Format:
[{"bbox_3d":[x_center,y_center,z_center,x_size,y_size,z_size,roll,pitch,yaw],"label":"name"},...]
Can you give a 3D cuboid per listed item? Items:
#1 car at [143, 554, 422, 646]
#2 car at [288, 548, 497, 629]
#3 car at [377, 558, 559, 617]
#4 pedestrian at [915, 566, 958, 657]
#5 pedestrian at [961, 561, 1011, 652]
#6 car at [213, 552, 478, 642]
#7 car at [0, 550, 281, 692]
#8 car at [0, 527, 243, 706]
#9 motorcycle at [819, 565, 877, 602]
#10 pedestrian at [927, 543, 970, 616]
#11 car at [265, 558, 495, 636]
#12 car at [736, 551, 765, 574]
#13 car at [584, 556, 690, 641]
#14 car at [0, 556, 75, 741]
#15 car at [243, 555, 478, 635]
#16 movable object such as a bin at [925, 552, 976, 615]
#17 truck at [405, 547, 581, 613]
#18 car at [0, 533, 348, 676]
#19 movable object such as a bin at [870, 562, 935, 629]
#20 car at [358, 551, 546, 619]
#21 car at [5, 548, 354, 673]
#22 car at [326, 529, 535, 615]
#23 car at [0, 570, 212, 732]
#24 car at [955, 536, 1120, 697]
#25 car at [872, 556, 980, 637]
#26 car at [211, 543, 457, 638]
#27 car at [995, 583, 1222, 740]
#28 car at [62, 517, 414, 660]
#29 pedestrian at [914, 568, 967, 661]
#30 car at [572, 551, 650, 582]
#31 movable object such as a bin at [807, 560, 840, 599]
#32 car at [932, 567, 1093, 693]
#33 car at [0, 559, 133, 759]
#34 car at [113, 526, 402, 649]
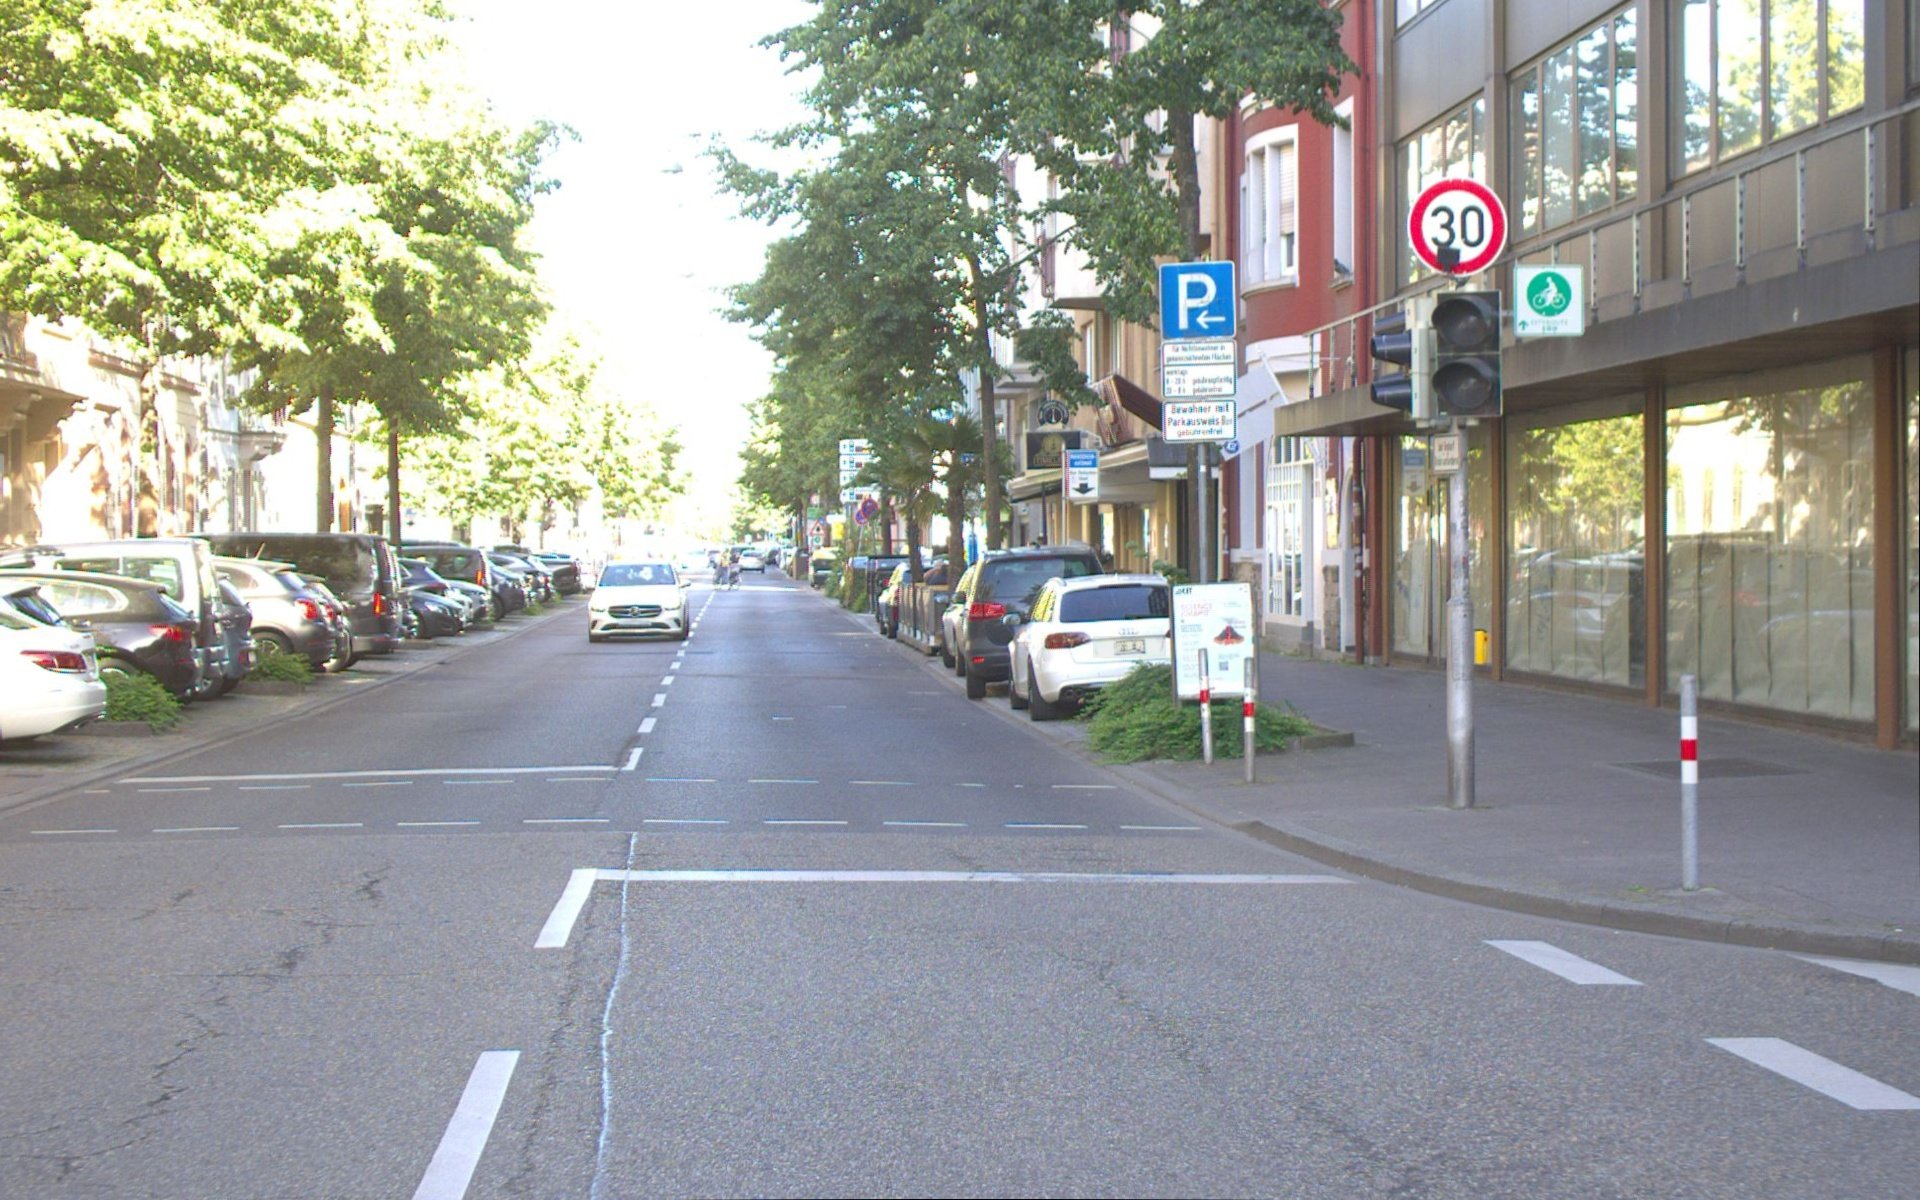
[{"bbox_3d":[-11.129,-0.012,56.707,4.338,1.434,1.917,1,0,-5],"label":"car"},{"bbox_3d":[-12.919,-0.271,78.440,4.466,1.766,1.917,1,0,-2],"label":"car"},{"bbox_3d":[-13.254,-0.352,92.844,4.680,1.514,1.808,1,0,-2],"label":"car"},{"bbox_3d":[-0.402,0.189,58.771,0.650,1.531,0.980,0,0,-5],"label":"pedestrian"},{"bbox_3d":[0.446,0.106,58.792,0.712,1.531,0.769,0,0,11],"label":"pedestrian"},{"bbox_3d":[-11.054,-0.059,62.069,4.466,1.535,1.917,1,0,-1],"label":"car"},{"bbox_3d":[-10.112,0.215,39.151,4.339,1.539,1.916,1,0,1],"label":"car"},{"bbox_3d":[-9.958,0.148,36.400,4.339,1.818,1.930,1,0,-2],"label":"car"},{"bbox_3d":[-4.124,-0.604,126.181,1.977,1.325,0.912,0,1,-16],"label":"motorcycle"},{"bbox_3d":[-0.315,-0.545,91.489,0.926,1.929,0.760,0,1,22],"label":"pedestrian"},{"bbox_3d":[-12.070,-0.069,71.736,4.466,1.535,1.916,1,0,0],"label":"car"},{"bbox_3d":[-13.465,-2.405,220.775,1.792,1.406,4.001,0,1,-4],"label":"car"},{"bbox_3d":[-6.103,-0.048,65.301,1.910,1.539,4.354,1,0,-4],"label":"car"},{"bbox_3d":[-10.016,0.330,29.026,4.698,1.487,2.001,2,1,-8],"label":"car"},{"bbox_3d":[-11.984,-0.105,68.980,4.465,1.535,1.917,1,0,-4],"label":"car"},{"bbox_3d":[-0.221,-0.375,78.454,1.077,1.426,1.295,0,1,-3],"label":"movable object such as a bin"},{"bbox_3d":[-13.949,-0.596,102.938,5.084,1.931,2.000,0,1,-4],"label":"truck"},{"bbox_3d":[-10.058,0.050,43.656,4.338,1.727,1.917,1,0,-5],"label":"car"},{"bbox_3d":[-1.279,-0.107,76.046,1.398,1.449,1.146,0,1,-3],"label":"movable object such as a bin"},{"bbox_3d":[-13.283,-0.397,90.023,4.680,1.706,1.808,1,0,-2],"label":"car"},{"bbox_3d":[-10.401,0.131,46.063,4.338,1.590,1.917,1,0,-5],"label":"car"},{"bbox_3d":[-12.503,-0.652,81.430,4.680,1.943,1.917,1,0,-2],"label":"car"},{"bbox_3d":[-9.607,0.475,33.695,4.338,1.539,1.965,1,0,-15],"label":"car"},{"bbox_3d":[0.886,0.152,41.776,1.822,1.771,4.930,-2,1,0],"label":"car"},{"bbox_3d":[-0.704,-0.103,67.518,1.822,1.467,4.912,-2,1,-4],"label":"car"},{"bbox_3d":[-11.724,-0.178,64.613,4.339,1.703,1.917,1,0,-4],"label":"car"},{"bbox_3d":[1.453,0.575,35.371,1.822,1.398,4.842,-2,1,-3],"label":"car"},{"bbox_3d":[-10.173,-0.170,48.653,4.573,1.920,1.930,1,0,-1],"label":"car"},{"bbox_3d":[-0.322,0.234,57.475,0.749,1.531,0.807,0,0,11],"label":"pedestrian"},{"bbox_3d":[-18.943,-1.830,186.541,3.987,1.688,2.000,0,1,1],"label":"car"},{"bbox_3d":[-5.409,-0.819,136.460,1.143,1.556,1.459,0,1,5],"label":"movable object such as a bin"},{"bbox_3d":[0.675,0.376,48.142,1.822,1.591,4.842,-2,1,-4],"label":"car"},{"bbox_3d":[-8.941,0.399,26.682,4.698,1.487,2.000,2,-1,-8],"label":"car"},{"bbox_3d":[-11.010,-0.194,53.826,4.338,1.828,1.917,1,0,-13],"label":"car"}]
